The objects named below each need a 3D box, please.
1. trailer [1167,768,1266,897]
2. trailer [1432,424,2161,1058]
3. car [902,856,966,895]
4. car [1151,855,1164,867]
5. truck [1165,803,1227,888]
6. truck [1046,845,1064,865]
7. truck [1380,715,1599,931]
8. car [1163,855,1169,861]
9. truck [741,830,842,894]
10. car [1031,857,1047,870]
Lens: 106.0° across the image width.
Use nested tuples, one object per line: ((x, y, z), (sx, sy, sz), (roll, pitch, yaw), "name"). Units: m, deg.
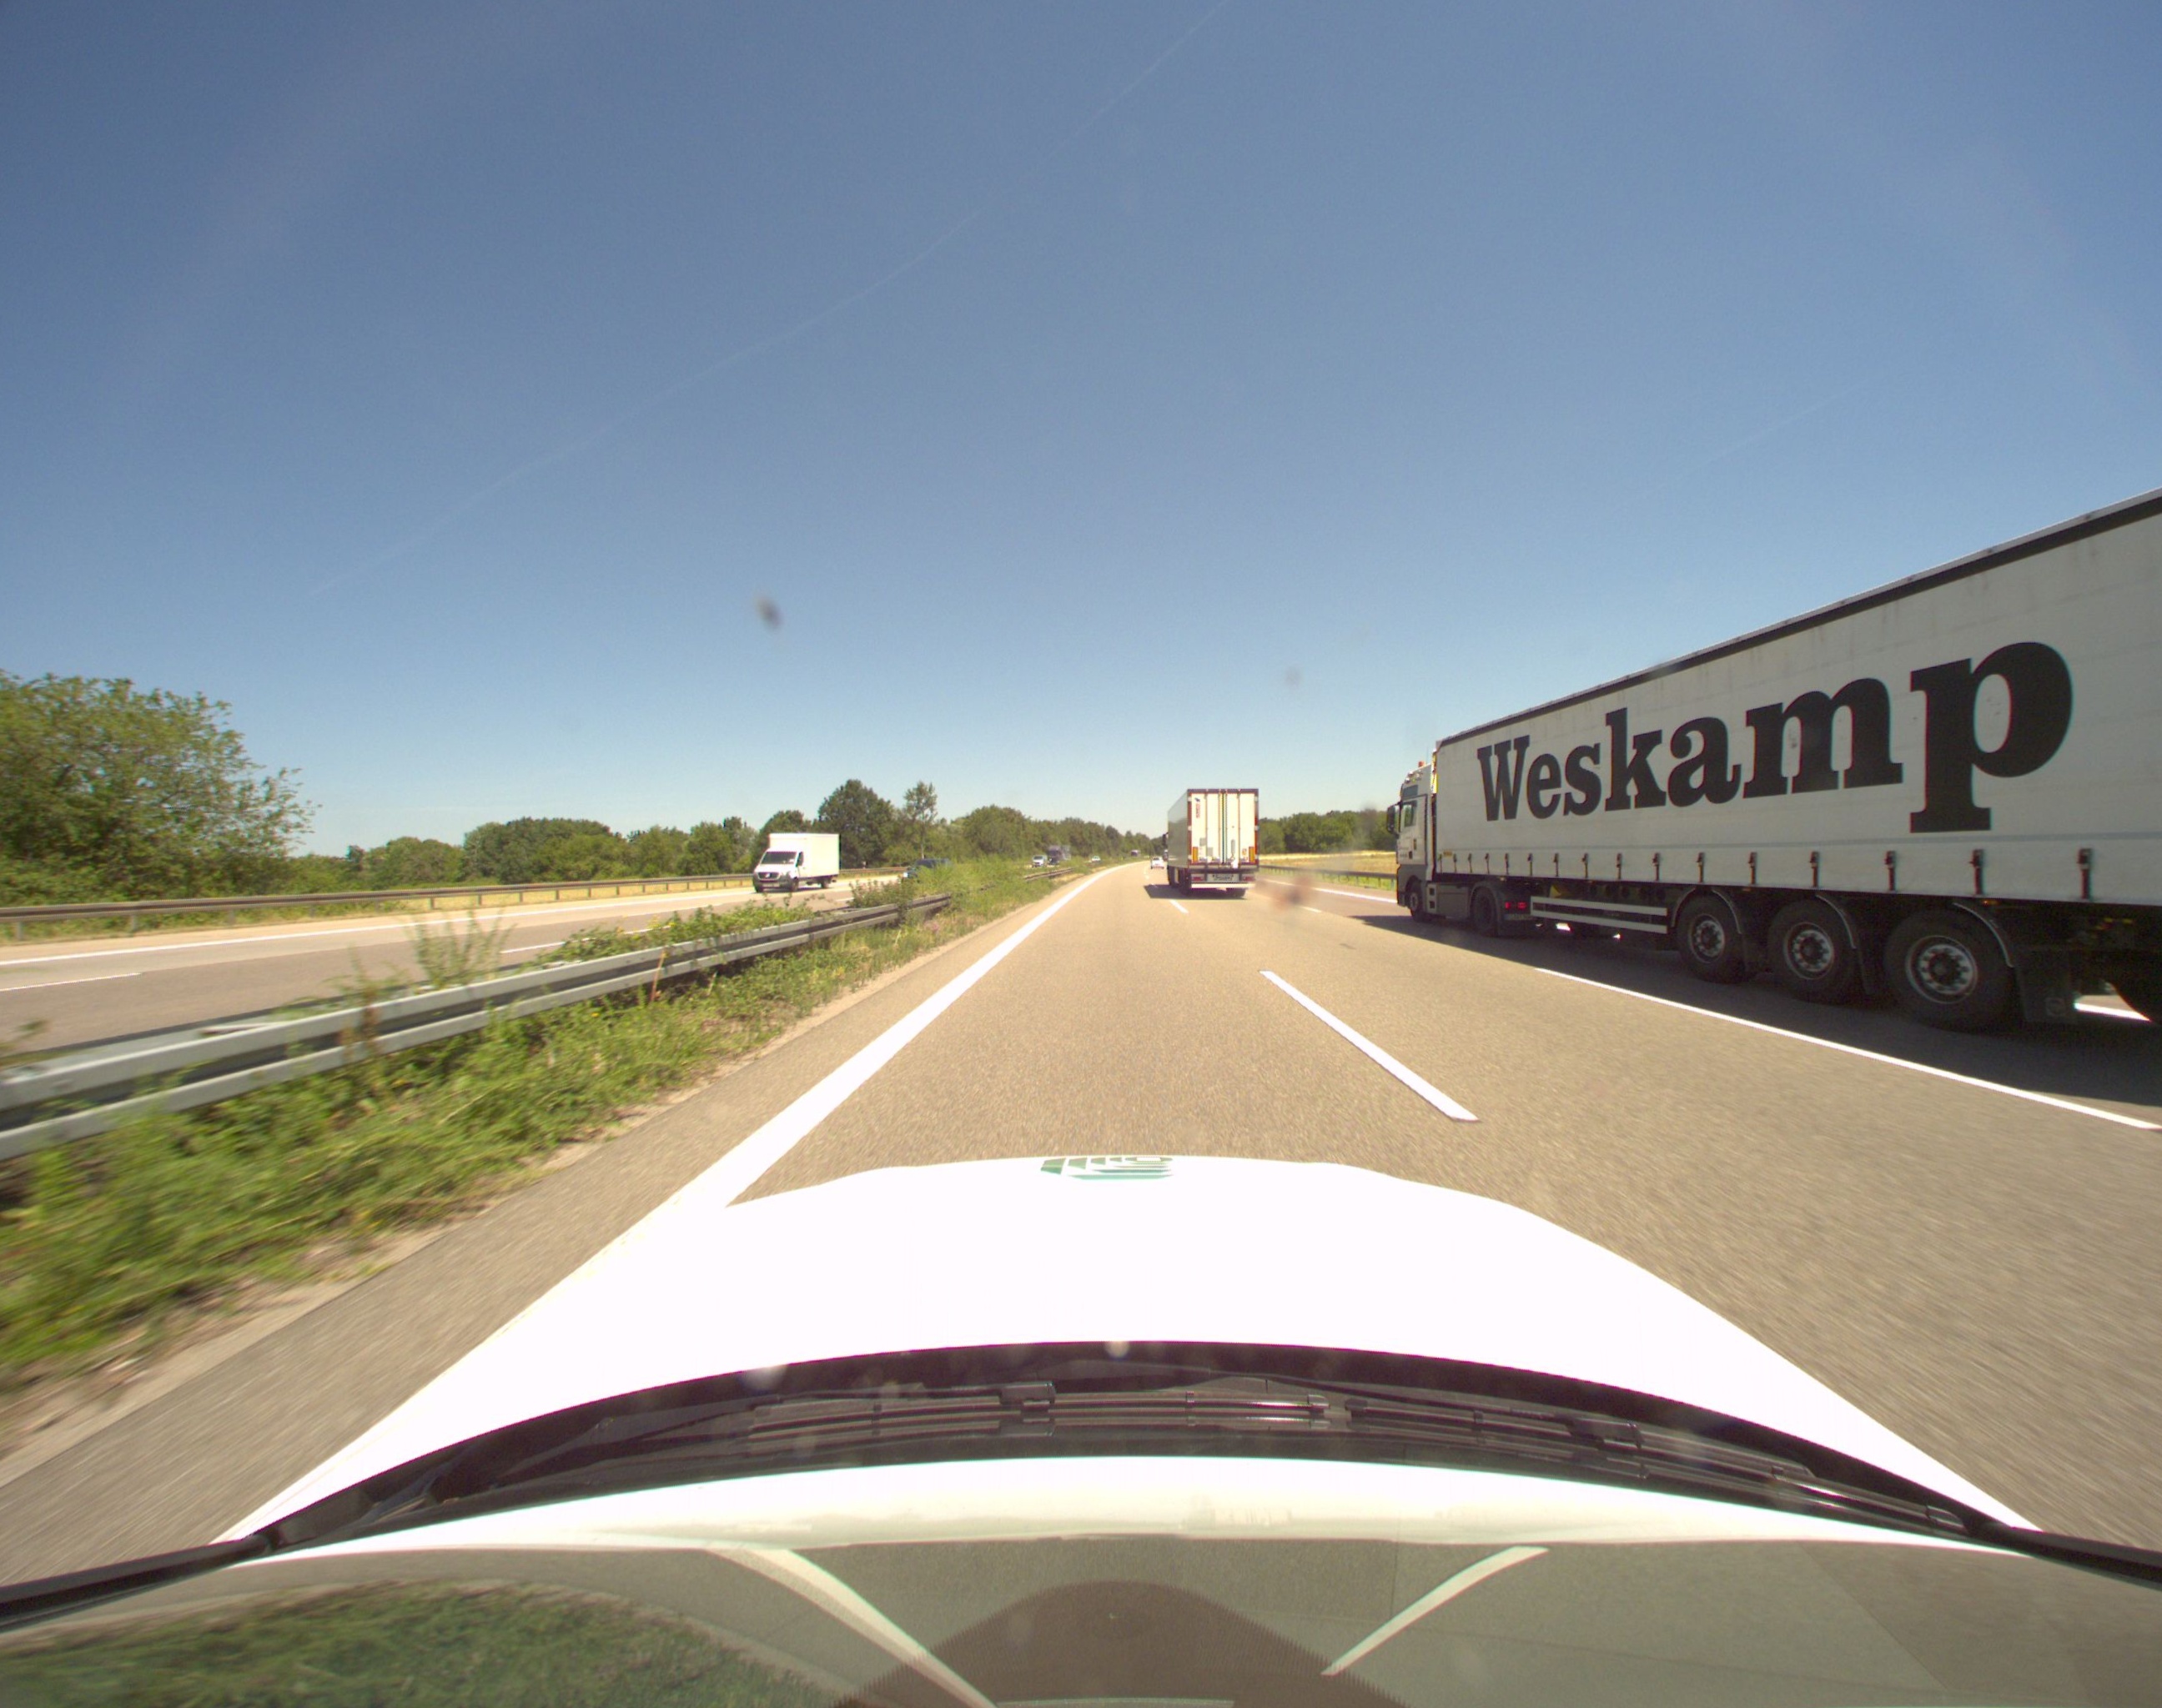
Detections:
((5.617, -0.754, 36.345), (2.888, 4.657, 13.998), (0, 0, 3), "trailer")
((8.729, -0.683, 10.881), (2.586, 4.252, 13.645), (0, -1, 2), "trailer")
((-7.046, 0.979, 39.604), (1.986, 1.728, 5.205), (-2, 0, 2), "car")
((9.862, 0.947, 104.775), (1.619, 1.479, 4.007), (-1, -1, 6), "car")
((6.041, -0.407, 43.379), (2.895, 4.256, 4.980), (0, 0, 3), "truck")
((-5.144, 0.124, 162.251), (2.879, 3.916, 4.007), (-1, 0, 6), "truck")
((8.983, -0.599, 18.610), (2.590, 4.256, 5.091), (0, 0, 2), "truck")
((21.772, 1.139, 208.230), (1.619, 1.479, 4.008), (-1, -1, 7), "car")
((-15.174, 0.393, 43.277), (2.441, 3.099, 6.996), (-1, 0, 3), "truck")
((-6.584, 1.495, 129.597), (2.050, 2.071, 5.411), (-2, 0, 2), "car")
